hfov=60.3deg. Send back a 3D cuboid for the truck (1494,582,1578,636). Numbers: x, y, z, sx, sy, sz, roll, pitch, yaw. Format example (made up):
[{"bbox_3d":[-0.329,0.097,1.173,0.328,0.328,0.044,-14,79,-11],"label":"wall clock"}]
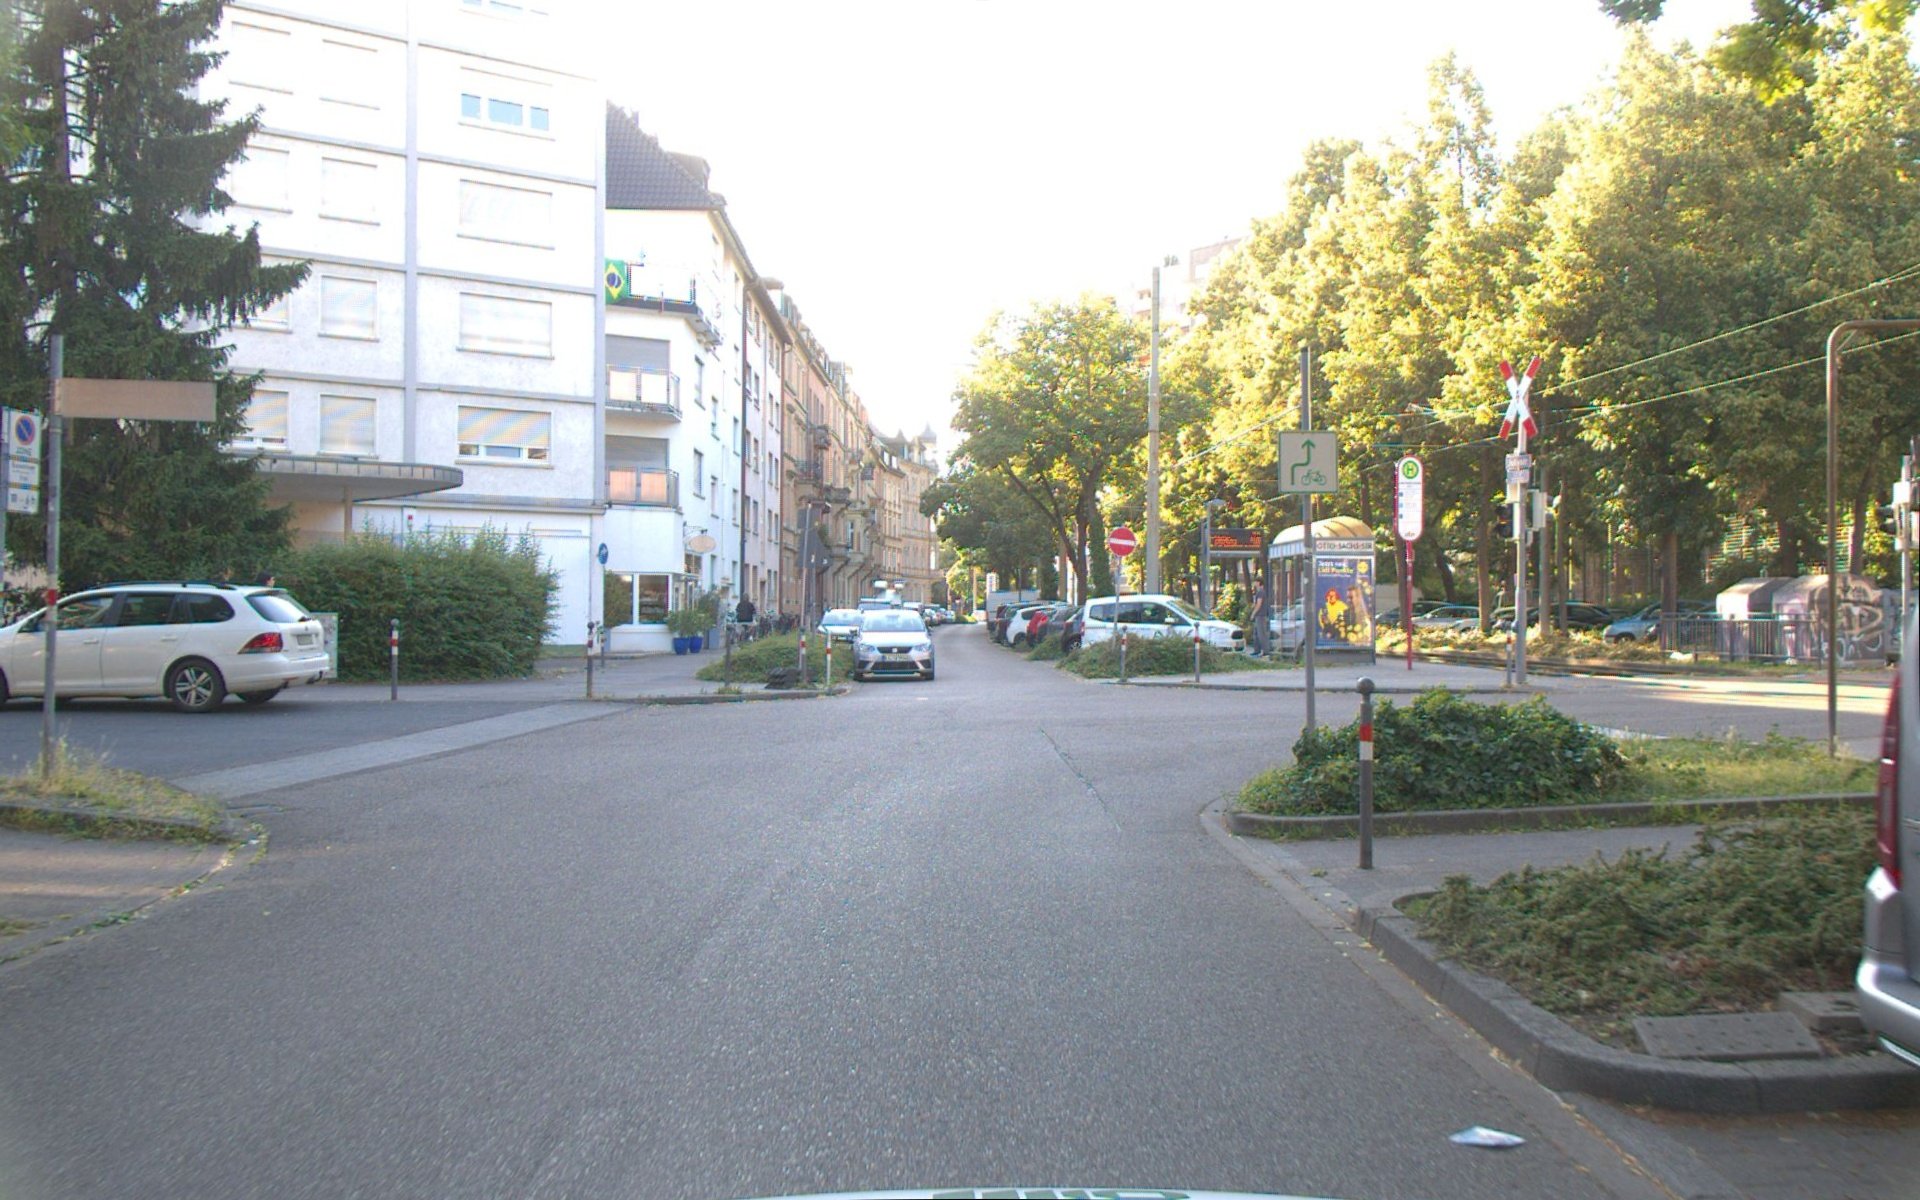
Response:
[{"bbox_3d":[26.614,0.425,76.554,2.318,2.393,4.383,0,0,0],"label":"truck"}]

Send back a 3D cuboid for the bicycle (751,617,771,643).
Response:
[{"bbox_3d":[-8.228,1.244,68.570,0.614,1.021,2.175,0,0,-1],"label":"bicycle"}]

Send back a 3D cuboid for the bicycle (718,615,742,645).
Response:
[{"bbox_3d":[-8.070,1.043,58.011,0.520,1.021,2.176,0,0,0],"label":"bicycle"}]

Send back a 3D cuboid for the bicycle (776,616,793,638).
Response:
[{"bbox_3d":[-8.362,1.296,78.983,0.614,1.021,2.175,0,0,-1],"label":"bicycle"}]

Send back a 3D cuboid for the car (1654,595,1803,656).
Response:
[{"bbox_3d":[20.788,0.668,44.864,3.534,1.472,1.607,3,0,23],"label":"car"}]

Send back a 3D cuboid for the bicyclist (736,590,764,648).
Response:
[{"bbox_3d":[-6.045,0.533,47.555,0.697,1.645,0.723,0,0,0],"label":"bicyclist"}]

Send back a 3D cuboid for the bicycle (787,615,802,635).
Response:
[{"bbox_3d":[-8.751,1.330,87.566,0.614,1.021,2.175,0,0,-1],"label":"bicycle"}]

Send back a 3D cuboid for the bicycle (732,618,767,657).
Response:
[{"bbox_3d":[-6.043,1.057,47.535,0.697,1.069,2.347,0,0,0],"label":"bicycle"}]

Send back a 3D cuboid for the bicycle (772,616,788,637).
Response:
[{"bbox_3d":[-8.904,1.294,81.959,0.614,1.021,2.175,0,0,-1],"label":"bicycle"}]

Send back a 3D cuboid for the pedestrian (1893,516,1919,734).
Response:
[{"bbox_3d":[9.052,0.223,14.673,0.884,1.952,1.150,0,0,0],"label":"pedestrian"}]

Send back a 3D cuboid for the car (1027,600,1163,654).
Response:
[{"bbox_3d":[4.487,0.899,55.111,4.143,1.484,1.607,-4,-1,24],"label":"car"}]

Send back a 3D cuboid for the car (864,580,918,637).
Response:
[{"bbox_3d":[-3.702,0.456,89.837,2.499,2.938,5.482,-1,0,2],"label":"car"}]

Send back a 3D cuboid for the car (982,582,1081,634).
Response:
[{"bbox_3d":[4.185,0.456,96.552,5.151,2.616,2.270,-4,-1,28],"label":"car"}]

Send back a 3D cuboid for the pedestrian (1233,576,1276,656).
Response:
[{"bbox_3d":[7.191,0.390,40.401,0.831,1.944,0.837,-1,-1,26],"label":"pedestrian"}]

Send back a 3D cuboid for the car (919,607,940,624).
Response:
[{"bbox_3d":[-2.821,1.415,152.497,1.675,1.471,4.001,-1,0,2],"label":"car"}]

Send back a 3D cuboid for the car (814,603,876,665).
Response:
[{"bbox_3d":[-3.327,0.955,48.299,1.676,1.702,3.998,-1,0,-3],"label":"car"}]

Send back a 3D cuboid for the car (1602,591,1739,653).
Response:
[{"bbox_3d":[20.430,0.611,47.638,3.535,1.589,1.607,3,0,23],"label":"car"}]

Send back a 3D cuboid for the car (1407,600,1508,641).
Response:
[{"bbox_3d":[19.795,0.819,65.746,3.738,1.446,1.738,2,-1,19],"label":"car"}]

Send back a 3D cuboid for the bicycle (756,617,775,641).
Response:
[{"bbox_3d":[-8.476,1.262,72.103,0.614,1.021,2.175,0,0,-1],"label":"bicycle"}]

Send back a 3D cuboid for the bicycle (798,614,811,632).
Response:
[{"bbox_3d":[-9.125,1.364,97.133,0.614,1.021,2.175,0,0,-1],"label":"bicycle"}]

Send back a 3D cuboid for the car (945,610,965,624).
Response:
[{"bbox_3d":[-0.568,1.832,181.103,1.674,1.471,4.003,-1,0,8],"label":"car"}]

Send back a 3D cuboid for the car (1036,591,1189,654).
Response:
[{"bbox_3d":[4.522,0.671,49.161,4.143,1.534,1.607,-4,-1,24],"label":"car"}]

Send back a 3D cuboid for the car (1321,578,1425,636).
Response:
[{"bbox_3d":[19.486,0.338,78.082,4.403,2.519,1.815,2,-1,30],"label":"car"}]

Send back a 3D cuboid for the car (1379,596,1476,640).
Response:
[{"bbox_3d":[19.439,0.738,68.795,3.738,1.615,1.738,2,-1,19],"label":"car"}]

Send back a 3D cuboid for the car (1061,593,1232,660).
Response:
[{"bbox_3d":[4.927,0.703,43.748,4.109,1.461,1.700,-4,-1,24],"label":"car"}]

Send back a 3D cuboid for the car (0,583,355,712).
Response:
[{"bbox_3d":[-9.808,0.545,20.057,4.192,1.476,1.924,0,1,2],"label":"car"}]

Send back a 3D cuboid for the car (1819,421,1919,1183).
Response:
[{"bbox_3d":[4.659,0.498,3.694,4.444,1.948,1.950,0,-1,1],"label":"car"}]

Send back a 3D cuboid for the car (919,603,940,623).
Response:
[{"bbox_3d":[-2.911,1.273,160.806,1.675,1.852,4.002,-1,0,4],"label":"car"}]

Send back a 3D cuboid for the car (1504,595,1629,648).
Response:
[{"bbox_3d":[19.787,0.704,54.086,3.738,1.523,1.738,2,-1,19],"label":"car"}]

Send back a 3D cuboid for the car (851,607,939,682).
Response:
[{"bbox_3d":[-1.442,0.907,35.616,1.677,1.471,3.996,-1,0,-5],"label":"car"}]

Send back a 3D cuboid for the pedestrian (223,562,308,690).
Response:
[{"bbox_3d":[-9.880,0.368,23.555,0.811,1.766,0.870,1,-1,-2],"label":"pedestrian"}]

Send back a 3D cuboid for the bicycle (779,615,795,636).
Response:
[{"bbox_3d":[-8.827,1.304,84.356,0.614,1.021,2.175,0,0,-1],"label":"bicycle"}]

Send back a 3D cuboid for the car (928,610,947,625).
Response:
[{"bbox_3d":[-2.329,1.787,170.810,1.675,1.471,4.002,-1,0,4],"label":"car"}]

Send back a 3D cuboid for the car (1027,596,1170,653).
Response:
[{"bbox_3d":[4.367,0.767,52.199,4.143,1.484,1.607,-4,-1,24],"label":"car"}]

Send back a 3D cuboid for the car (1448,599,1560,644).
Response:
[{"bbox_3d":[19.699,0.792,59.913,3.738,1.415,1.738,3,-1,19],"label":"car"}]

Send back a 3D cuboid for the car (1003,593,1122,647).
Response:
[{"bbox_3d":[3.913,0.767,63.650,4.156,1.779,1.851,-5,-1,36],"label":"car"}]

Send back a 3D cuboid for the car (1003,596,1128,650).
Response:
[{"bbox_3d":[3.839,0.854,60.685,4.156,1.680,1.851,-5,-1,36],"label":"car"}]

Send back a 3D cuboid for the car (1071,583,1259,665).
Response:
[{"bbox_3d":[4.967,0.596,40.232,4.149,1.681,1.604,-4,-1,31],"label":"car"}]

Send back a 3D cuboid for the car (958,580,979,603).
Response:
[{"bbox_3d":[0.951,-0.999,191.078,1.674,2.607,5.571,-1,0,8],"label":"car"}]
